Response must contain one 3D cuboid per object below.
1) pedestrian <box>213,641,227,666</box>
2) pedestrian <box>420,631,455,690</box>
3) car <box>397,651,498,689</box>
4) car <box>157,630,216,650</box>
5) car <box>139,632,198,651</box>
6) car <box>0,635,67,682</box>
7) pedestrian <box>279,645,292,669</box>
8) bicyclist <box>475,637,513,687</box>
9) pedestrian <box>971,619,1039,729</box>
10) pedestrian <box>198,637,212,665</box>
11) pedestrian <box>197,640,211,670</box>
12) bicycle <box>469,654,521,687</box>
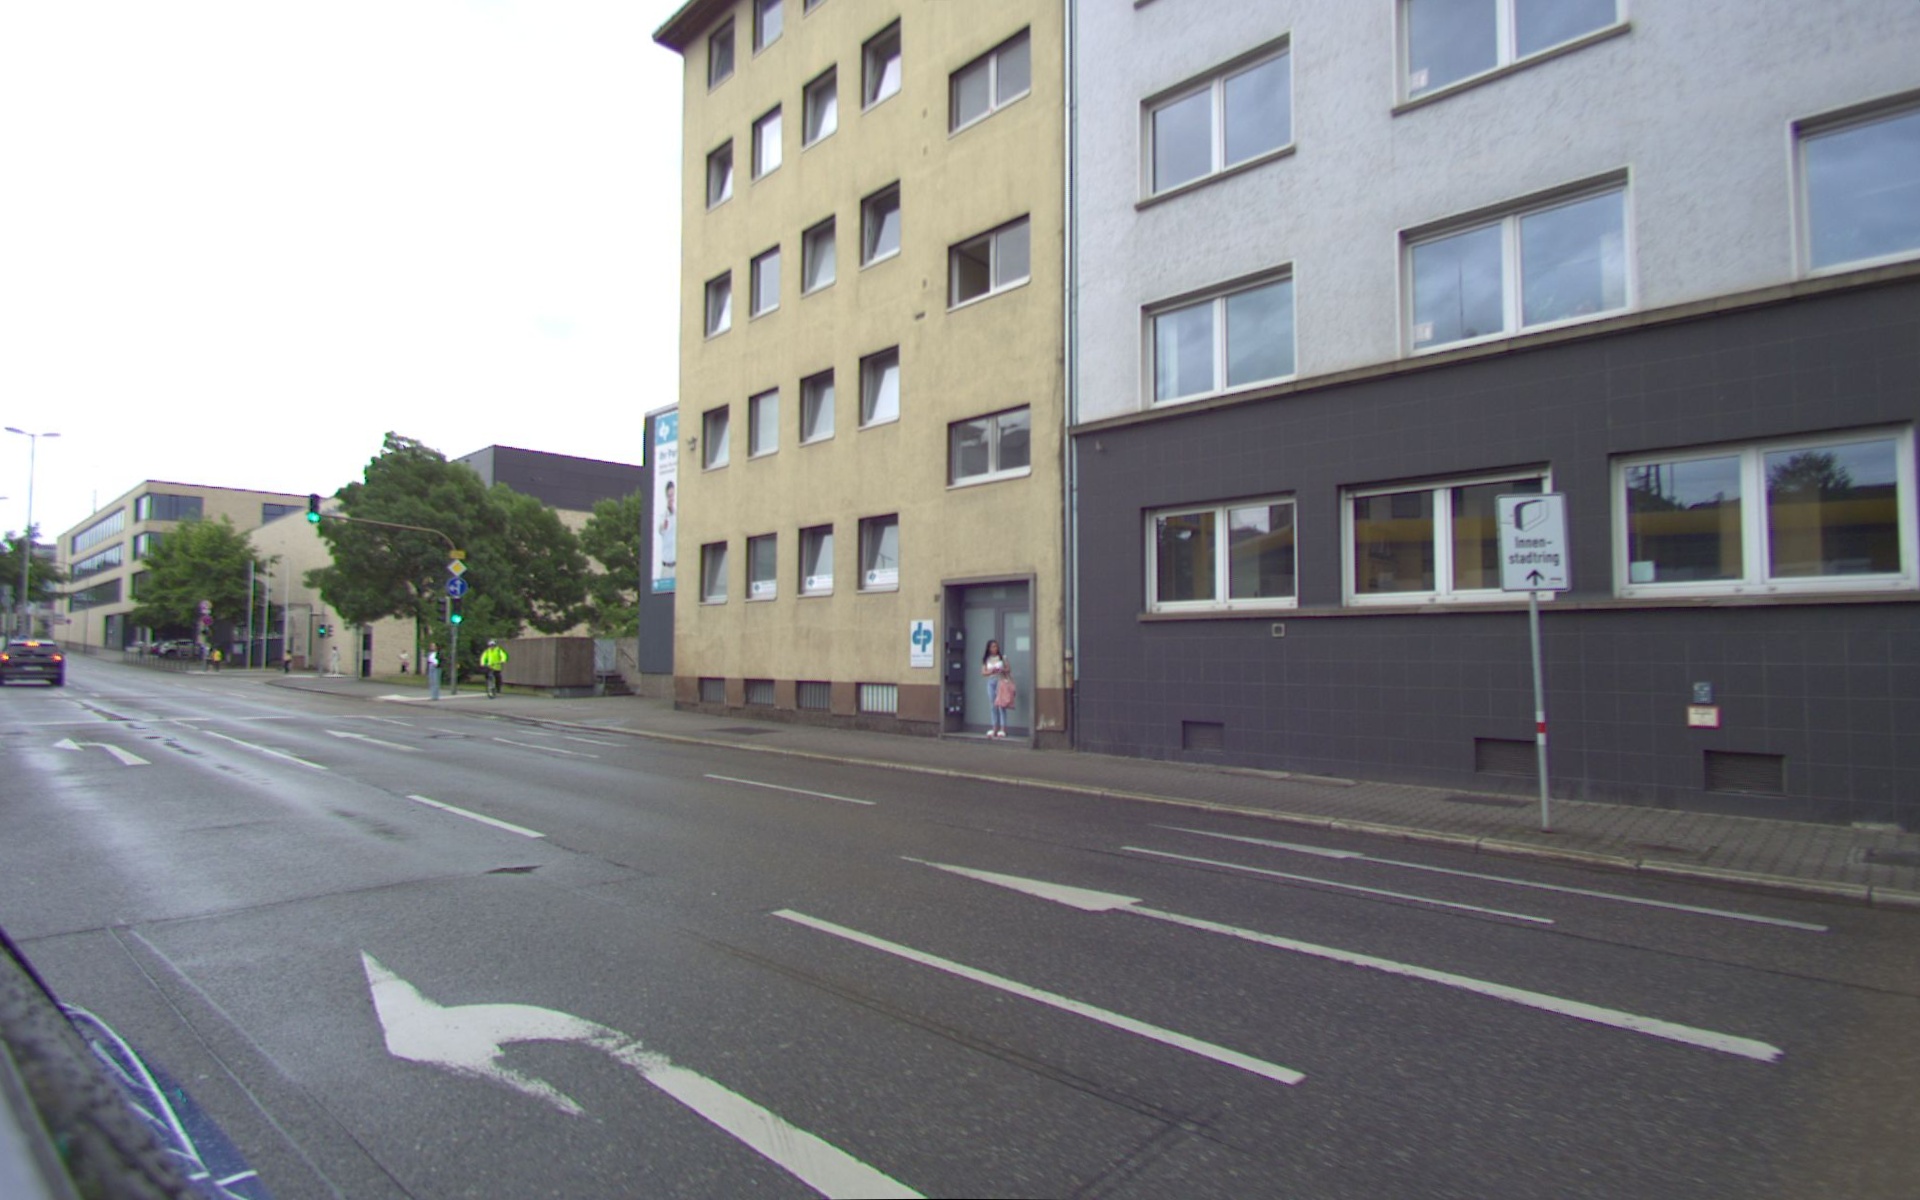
[{"bbox_3d":[-46.012,3.318,62.907,0.692,1.528,0.587,-2,-2,43],"label":"pedestrian"},{"bbox_3d":[-15.562,1.785,30.142,0.709,1.702,0.812,0,-2,-44],"label":"pedestrian"},{"bbox_3d":[-29.613,4.056,58.566,1.999,1.940,4.726,-2,-7,41],"label":"car"},{"bbox_3d":[-66.877,3.475,87.558,3.938,1.597,2.002,0,-2,-42],"label":"car"},{"bbox_3d":[-69.418,3.630,88.782,3.938,1.597,2.002,0,-2,-42],"label":"car"},{"bbox_3d":[-33.294,2.058,36.160,1.787,1.607,4.297,3,-4,-44],"label":"car"},{"bbox_3d":[-40.822,3.454,61.249,0.475,1.386,0.614,-2,-2,45],"label":"pedestrian"},{"bbox_3d":[-13.989,1.847,30.380,0.832,1.453,0.813,0,-2,-44],"label":"bicyclist"},{"bbox_3d":[0.716,1.163,16.254,0.709,1.702,0.812,0,-2,-44],"label":"pedestrian"},{"bbox_3d":[-47.469,3.181,63.641,0.691,1.744,0.588,-2,-2,40],"label":"pedestrian"},{"bbox_3d":[-45.795,3.345,61.310,0.692,1.785,0.587,-2,-2,43],"label":"pedestrian"},{"bbox_3d":[-13.973,2.096,30.386,0.874,0.914,1.868,0,-2,-43],"label":"bicycle"}]
